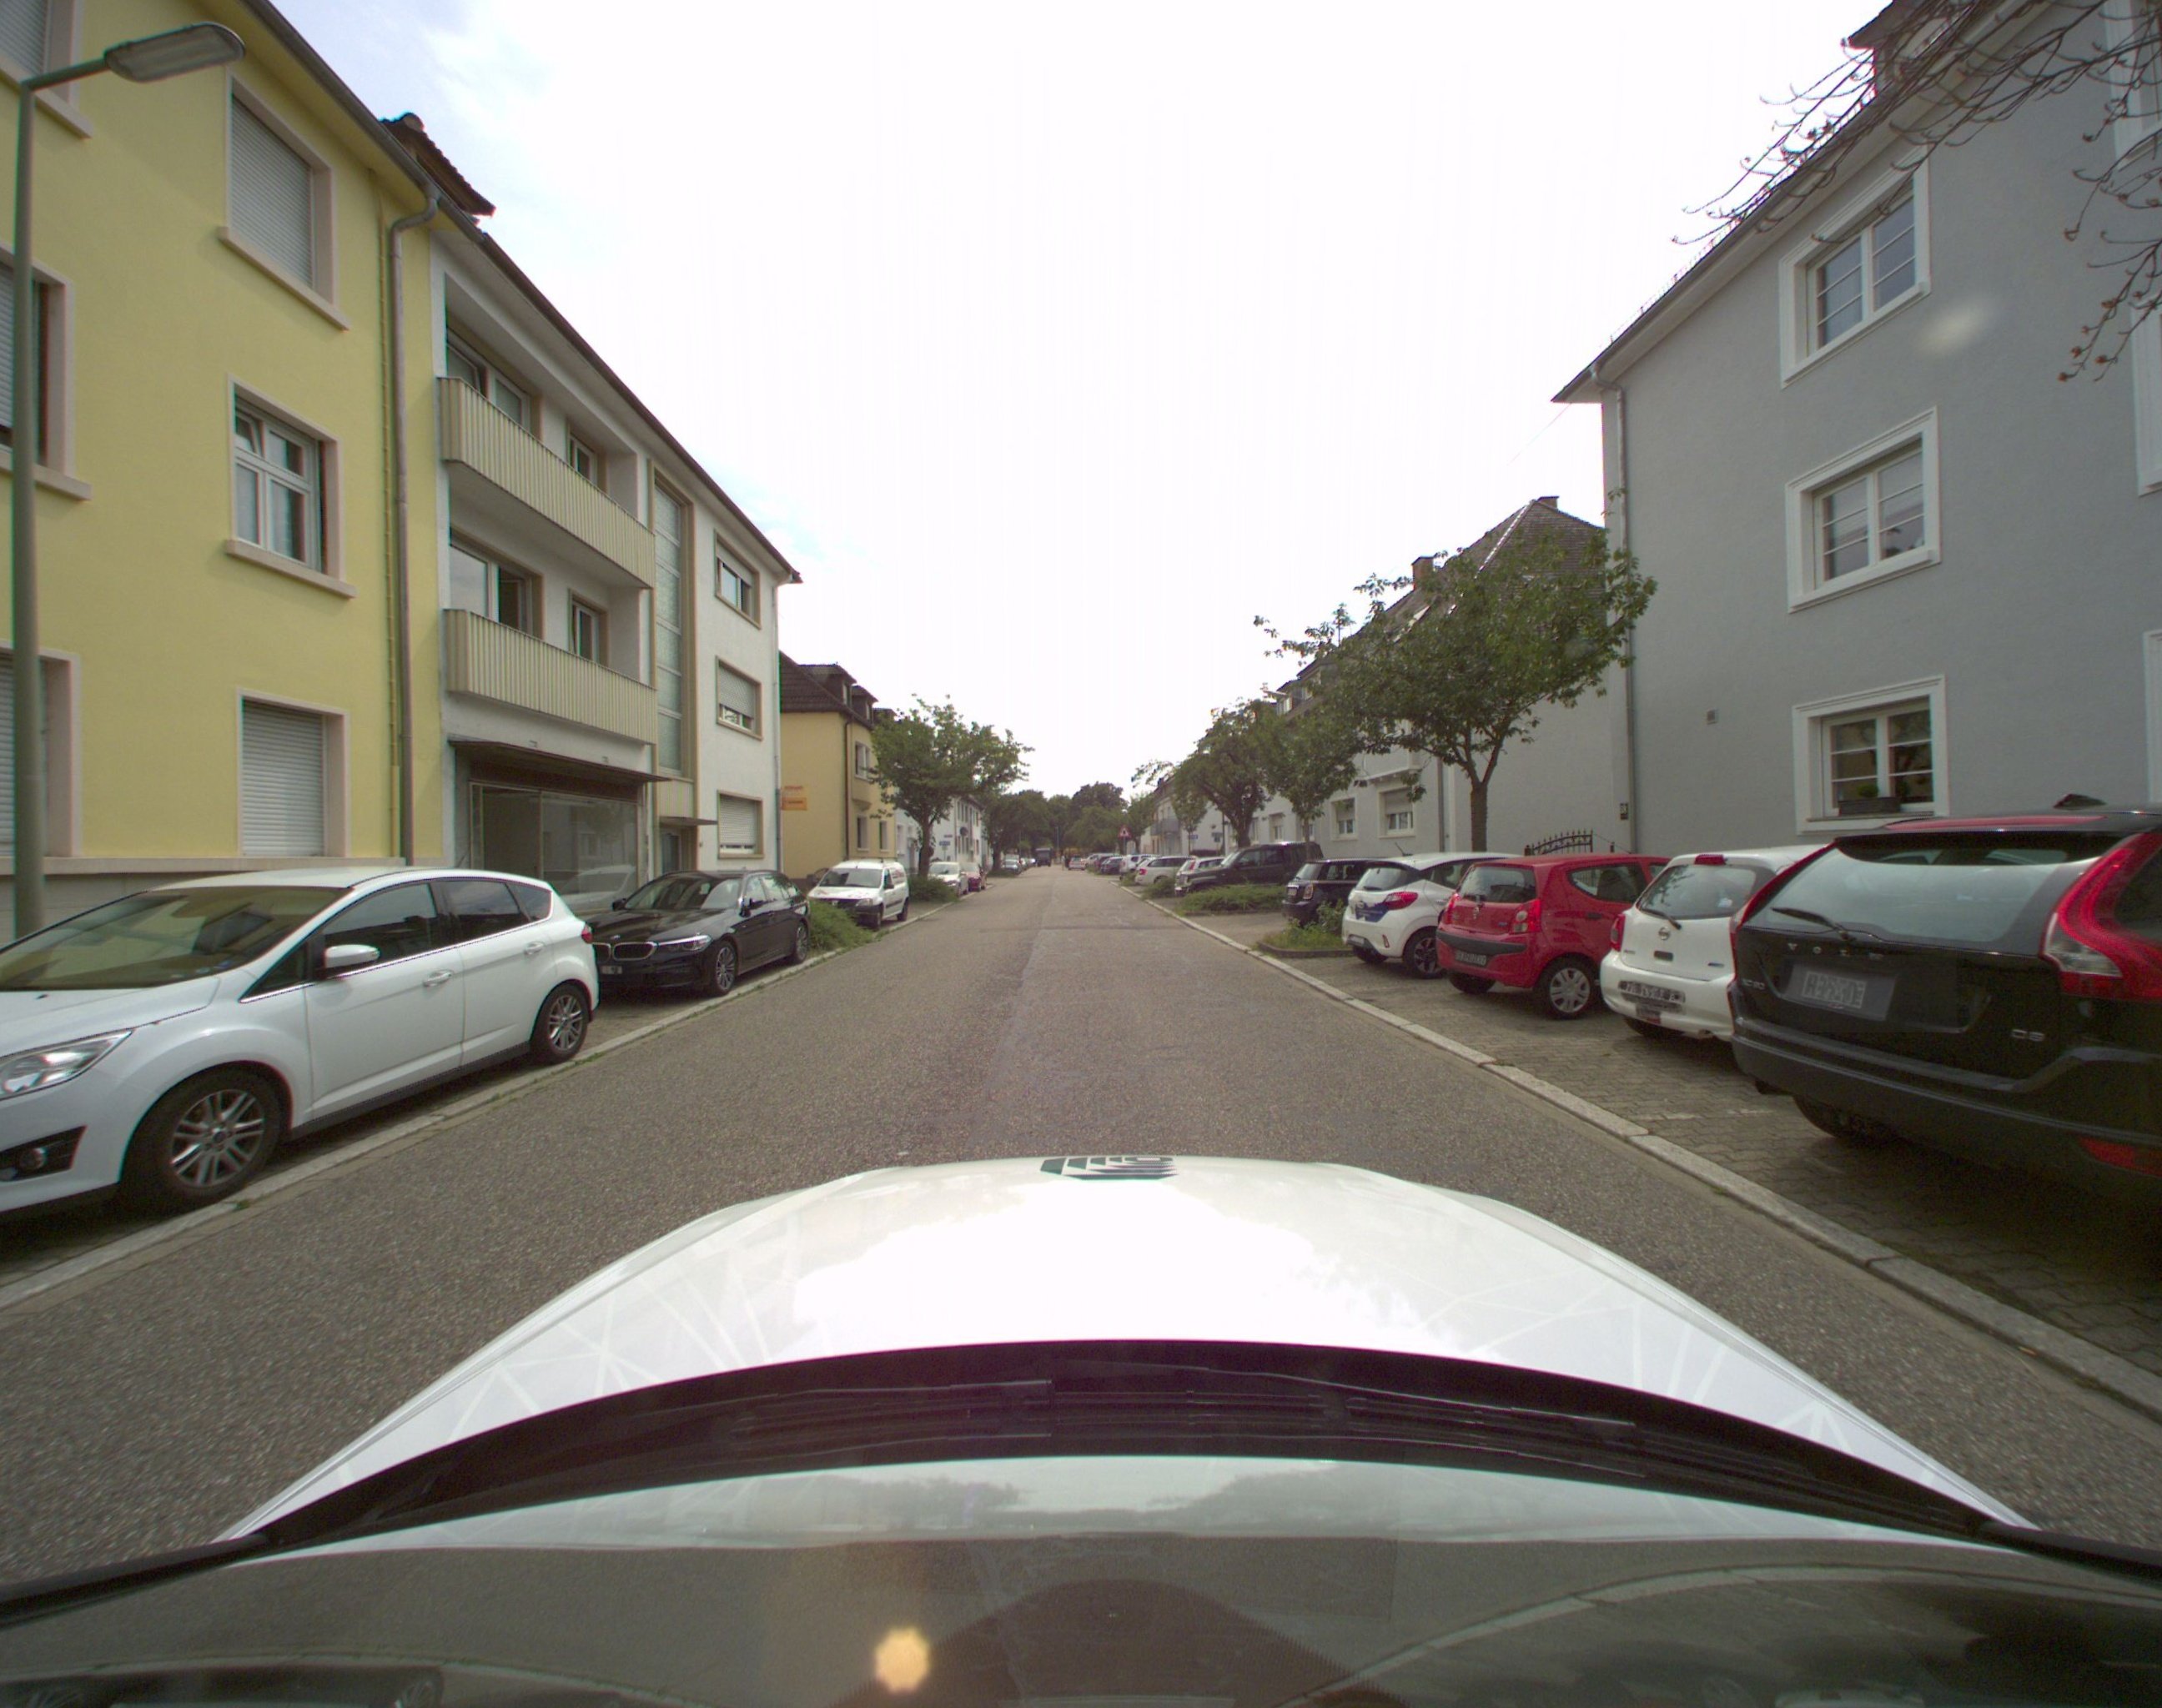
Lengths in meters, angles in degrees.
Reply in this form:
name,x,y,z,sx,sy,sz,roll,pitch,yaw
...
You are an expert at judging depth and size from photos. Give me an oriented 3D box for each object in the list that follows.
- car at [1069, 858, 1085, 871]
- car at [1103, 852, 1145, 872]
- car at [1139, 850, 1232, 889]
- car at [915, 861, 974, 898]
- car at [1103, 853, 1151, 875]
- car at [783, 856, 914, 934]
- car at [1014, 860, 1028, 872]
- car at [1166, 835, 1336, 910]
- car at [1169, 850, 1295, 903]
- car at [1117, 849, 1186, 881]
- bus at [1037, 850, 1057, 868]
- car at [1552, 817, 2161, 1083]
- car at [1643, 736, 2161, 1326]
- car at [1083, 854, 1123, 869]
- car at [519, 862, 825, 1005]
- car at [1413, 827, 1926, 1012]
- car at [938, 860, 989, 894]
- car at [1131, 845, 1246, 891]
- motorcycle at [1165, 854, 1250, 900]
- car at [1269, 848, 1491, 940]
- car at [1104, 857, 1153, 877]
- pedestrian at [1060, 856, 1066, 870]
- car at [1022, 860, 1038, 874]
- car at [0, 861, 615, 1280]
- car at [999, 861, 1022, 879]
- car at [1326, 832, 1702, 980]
name,x,y,z,sx,sy,sz,roll,pitch,yaw
car,-0.465,1.244,96.324,1.682,1.354,3.825,-3,0,0
car,3.932,0.734,74.956,3.737,1.564,1.772,-3,-1,-1
car,4.749,0.696,37.510,3.976,1.508,1.711,-3,-1,-2
car,-5.810,1.054,35.192,1.766,1.392,4.273,4,-1,-1
car,3.791,0.794,67.537,3.737,1.564,1.772,-3,-1,-1
car,-5.493,0.907,19.872,1.913,1.581,4.380,-3,0,-1
car,-7.506,1.525,102.013,1.648,1.377,3.716,-3,0,-4
car,4.870,0.528,23.775,4.510,1.858,1.793,-3,-1,0
car,4.870,0.728,26.558,3.620,1.454,1.769,-3,-1,-6
car,4.194,0.647,48.934,3.912,1.633,1.867,-3,-1,-1
bus,-5.665,0.910,136.166,2.996,2.761,8.918,-3,0,-1
car,5.857,0.571,5.929,3.737,1.441,1.864,-3,-1,-1
car,5.121,0.411,3.371,4.201,1.735,1.904,-3,-1,0
car,2.847,0.963,104.824,4.965,1.518,1.766,-3,-1,-4
car,-5.085,0.877,11.045,1.785,1.492,4.809,-1,-1,-1
car,5.726,0.583,8.236,3.980,1.410,1.765,-3,-1,-5
car,-5.769,1.104,40.510,1.872,1.486,4.509,-3,0,-1
car,4.554,0.589,34.934,4.601,1.664,1.891,-3,-1,-1
motorcycle,4.378,0.781,28.298,2.697,1.464,1.029,-2,-1,-6
car,5.650,0.722,15.686,3.534,1.453,1.807,-3,-1,-3
car,3.754,1.011,64.499,3.737,1.365,1.772,-3,-1,-1
pedestrian,-2.115,1.051,95.530,0.520,1.704,0.445,-3,-1,2
car,-5.746,1.459,91.529,1.647,1.461,3.549,-3,0,-2
car,-4.970,0.854,5.047,1.752,1.556,4.253,-2,-1,-2
car,-6.797,1.524,78.787,1.757,1.554,3.732,-3,0,2
car,5.499,0.615,10.652,3.980,1.530,1.765,-3,-1,-5
